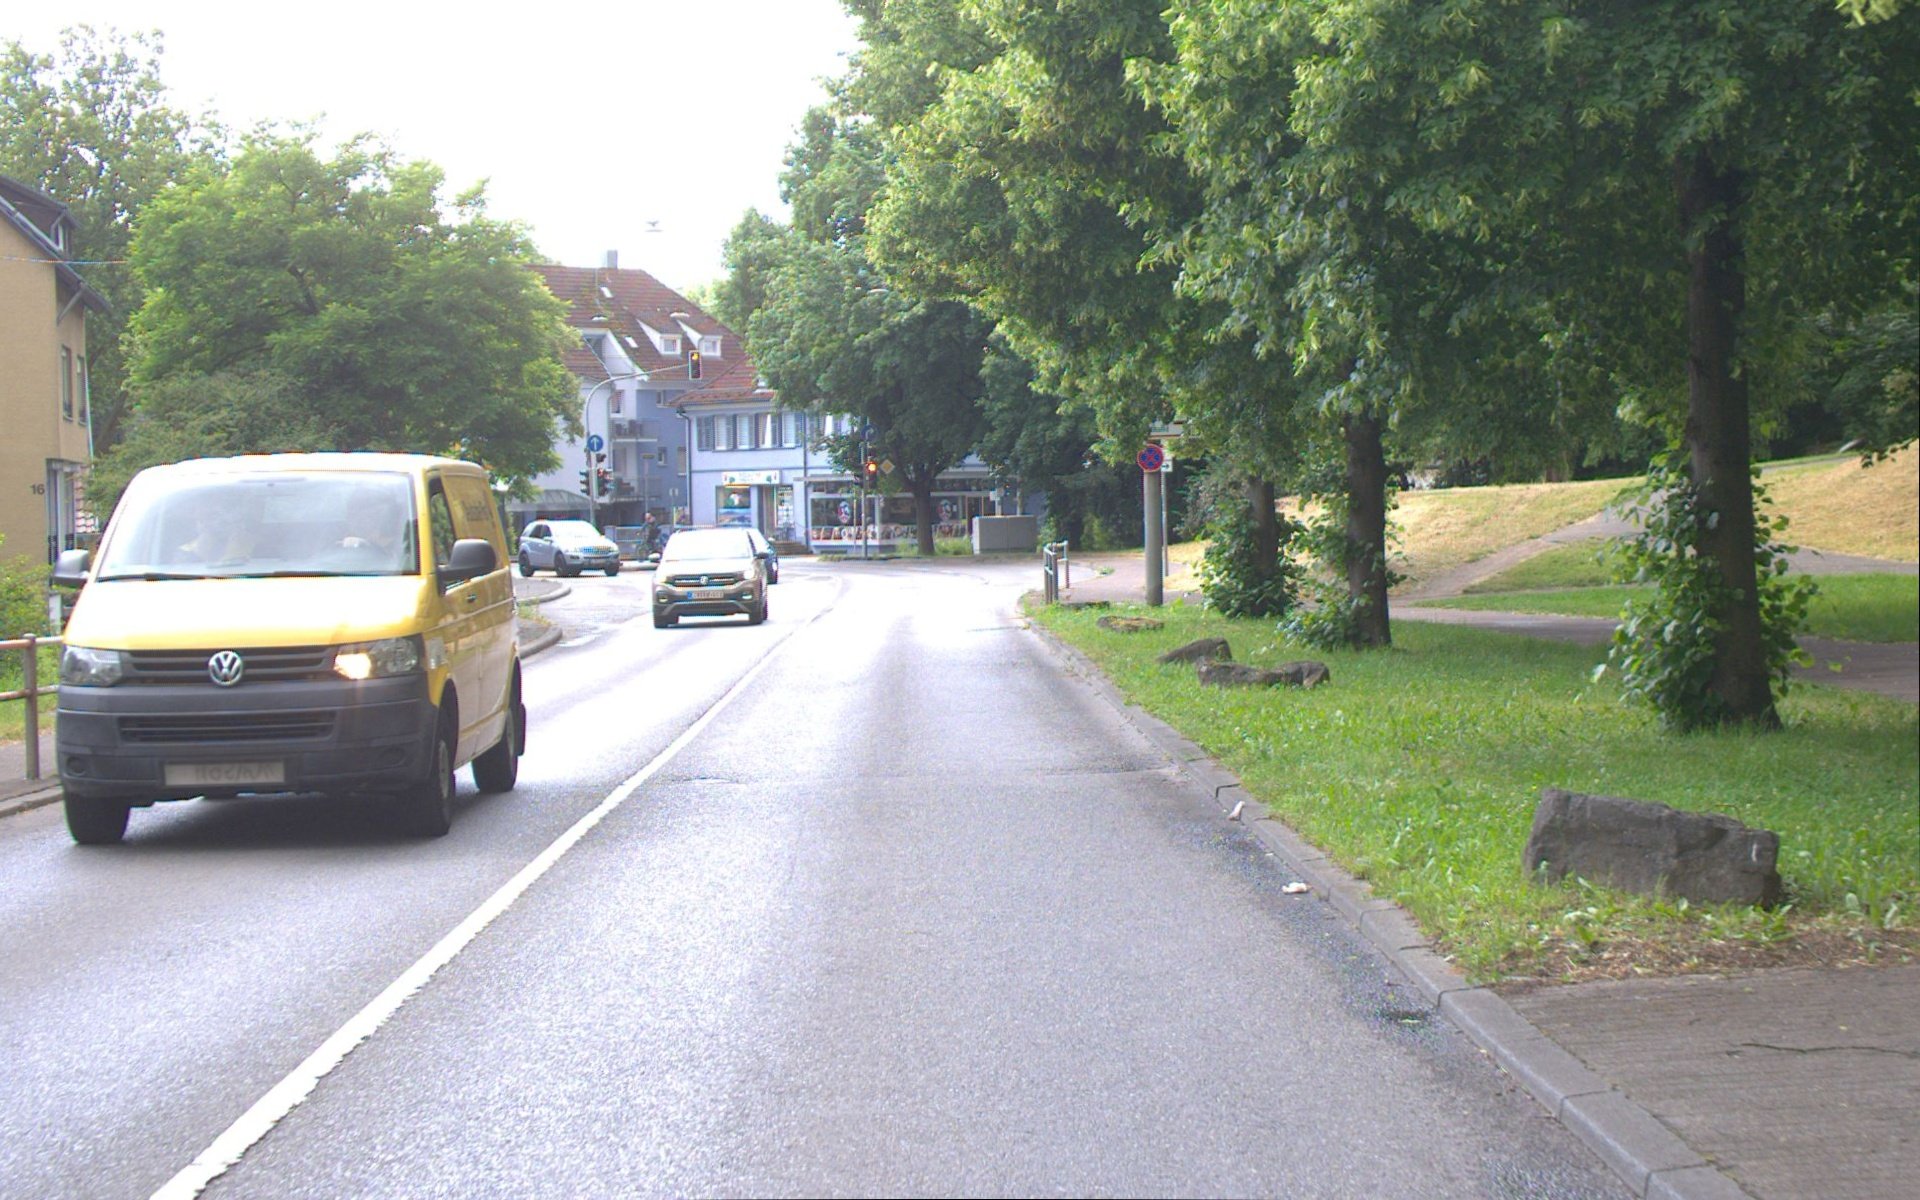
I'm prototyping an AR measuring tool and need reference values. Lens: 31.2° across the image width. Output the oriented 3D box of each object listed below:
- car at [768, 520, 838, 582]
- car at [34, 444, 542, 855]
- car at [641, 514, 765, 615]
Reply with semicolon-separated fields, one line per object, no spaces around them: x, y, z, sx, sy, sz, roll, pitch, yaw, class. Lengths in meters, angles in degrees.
-4.046;-1.282;88.950;1.716;1.463;4.100;-2;2;-2;car
-3.458;0.185;18.598;1.845;1.924;4.769;-1;1;-1;car
-4.167;-0.606;56.212;1.704;1.506;4.000;-3;1;0;car
